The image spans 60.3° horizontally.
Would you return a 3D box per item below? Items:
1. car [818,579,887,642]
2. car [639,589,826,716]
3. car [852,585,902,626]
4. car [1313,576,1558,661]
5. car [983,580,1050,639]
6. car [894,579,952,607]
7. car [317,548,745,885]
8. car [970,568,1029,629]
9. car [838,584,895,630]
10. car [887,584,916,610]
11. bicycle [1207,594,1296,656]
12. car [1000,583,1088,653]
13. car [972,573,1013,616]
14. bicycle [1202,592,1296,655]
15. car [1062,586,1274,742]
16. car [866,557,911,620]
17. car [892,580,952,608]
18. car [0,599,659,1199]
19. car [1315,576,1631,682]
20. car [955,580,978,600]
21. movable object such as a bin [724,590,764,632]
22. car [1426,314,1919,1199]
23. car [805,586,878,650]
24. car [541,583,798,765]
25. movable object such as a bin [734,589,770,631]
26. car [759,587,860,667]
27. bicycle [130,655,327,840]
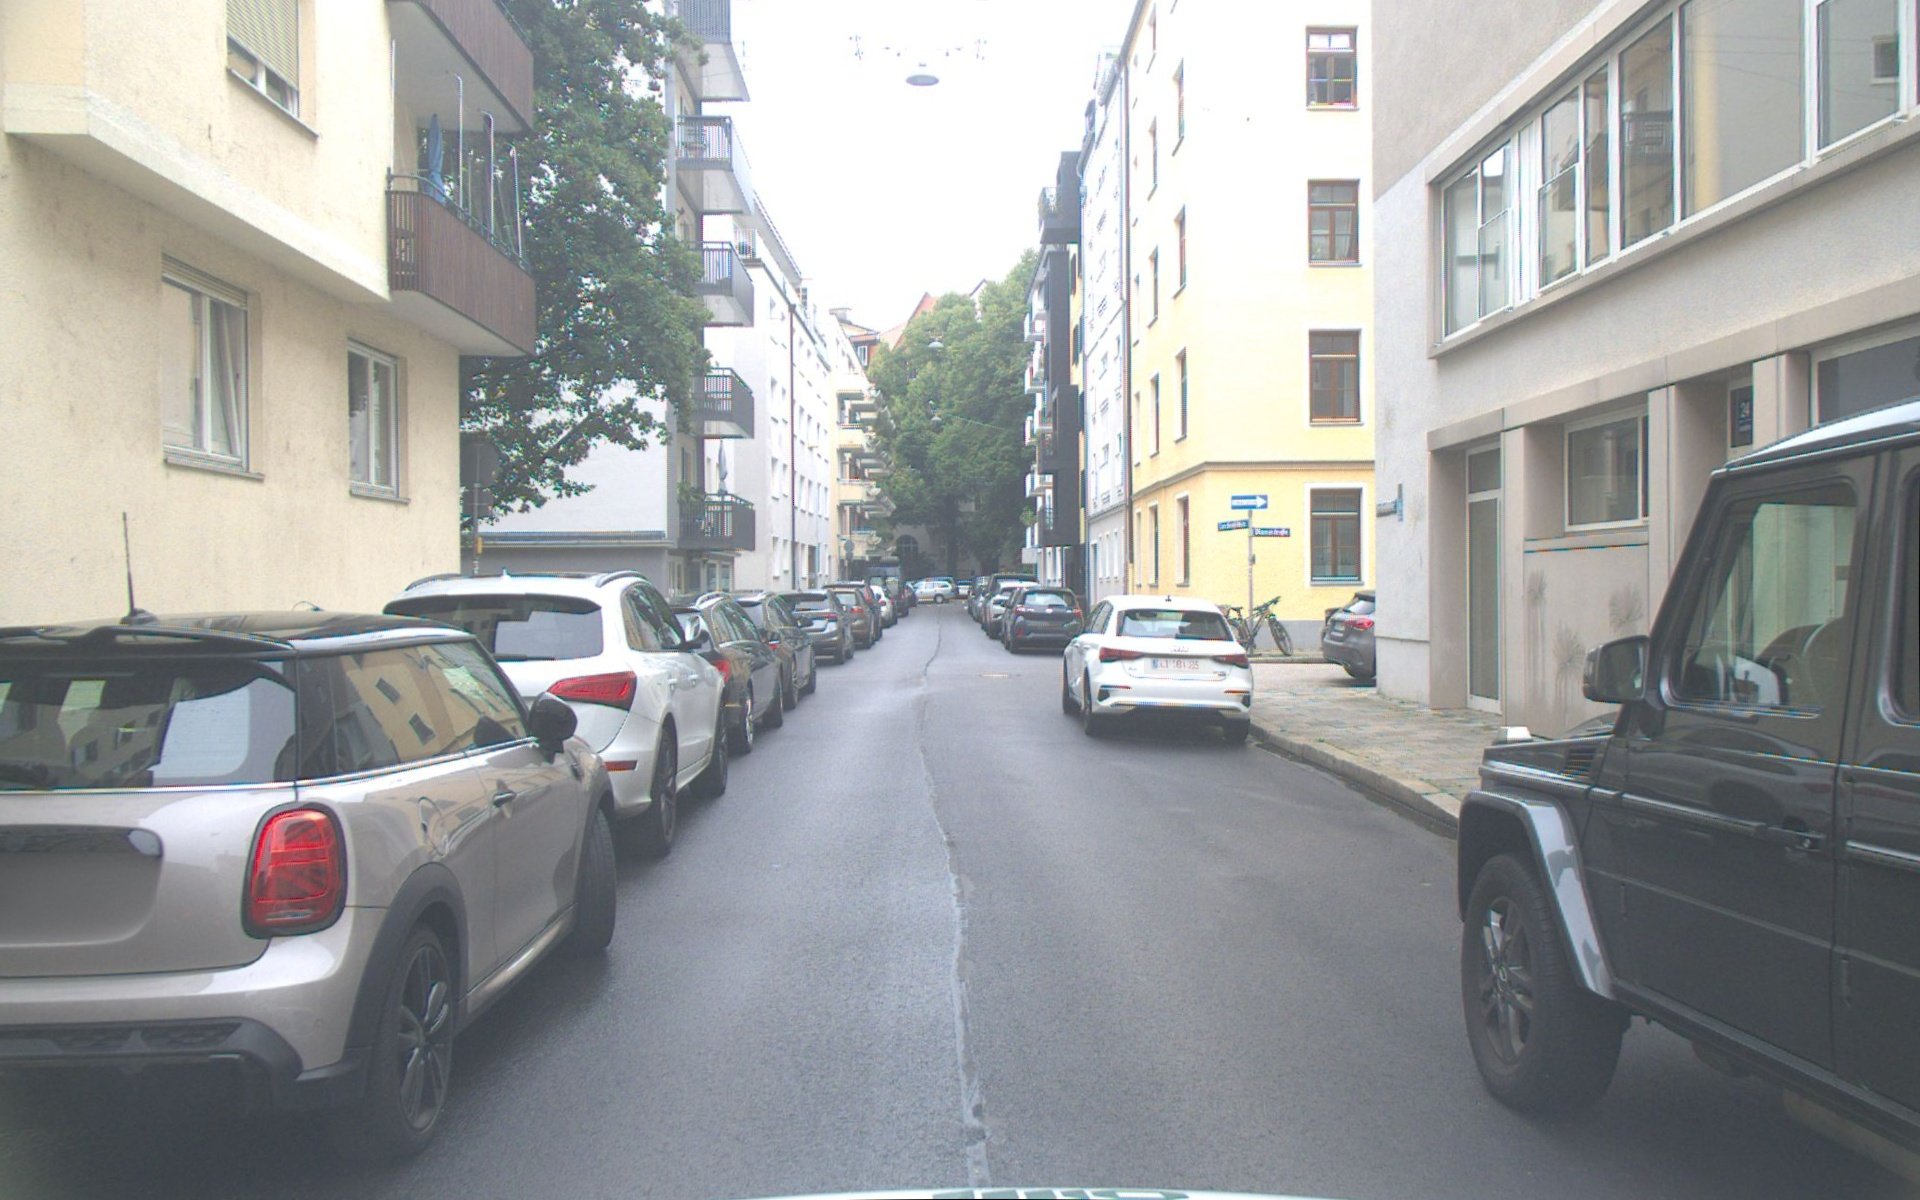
[{"bbox_3d":[-3.008,0.274,47.030,1.741,1.657,4.414,-2,1,-1],"label":"car"},{"bbox_3d":[-2.849,0.601,21.659,1.818,1.433,4.383,-2,1,0],"label":"car"},{"bbox_3d":[-3.244,0.189,65.270,1.741,1.478,4.045,-3,1,-1],"label":"car"},{"bbox_3d":[8.959,0.345,31.347,4.128,1.520,1.711,0,0,-3],"label":"car"},{"bbox_3d":[1.608,0.245,48.626,1.648,1.595,4.414,2,1,-2],"label":"car"},{"bbox_3d":[-2.482,-0.482,110.430,3.808,1.612,1.647,-3,0,-2],"label":"car"},{"bbox_3d":[-2.505,0.597,10.772,1.730,1.704,4.366,-1,0,-2],"label":"car"},{"bbox_3d":[1.306,-0.074,56.057,1.792,1.943,4.415,1,1,-1],"label":"car"},{"bbox_3d":[-3.352,0.213,60.120,1.740,1.512,4.519,-3,1,0],"label":"car"},{"bbox_3d":[-3.489,-0.203,98.547,1.609,1.407,3.482,-3,1,-1],"label":"car"},{"bbox_3d":[5.800,0.489,32.876,1.678,1.159,0.374,-2,2,-2],"label":"bicycle"},{"bbox_3d":[1.912,0.378,38.753,1.715,1.495,4.342,2,1,-1],"label":"car"},{"bbox_3d":[1.620,-0.292,82.948,1.792,2.034,4.414,2,0,-1],"label":"car"},{"bbox_3d":[5.830,0.470,33.398,1.772,1.194,0.505,-2,2,-3],"label":"bicycle"},{"bbox_3d":[2.193,0.624,18.454,1.782,1.432,3.952,1,2,-1],"label":"car"},{"bbox_3d":[-3.413,-0.570,79.881,1.897,2.850,4.531,-3,1,-1],"label":"car"},{"bbox_3d":[-2.484,-0.409,108.467,3.808,1.612,1.647,-3,0,-2],"label":"car"},{"bbox_3d":[-2.186,0.747,5.679,1.618,1.461,3.802,-1,0,-1],"label":"car"},{"bbox_3d":[7.663,0.407,24.965,4.121,1.424,1.999,-1,2,-4],"label":"car"},{"bbox_3d":[0.454,-0.791,125.592,1.609,1.407,3.745,-3,1,-1],"label":"car"},{"bbox_3d":[-7.342,0.362,56.250,1.142,1.360,1.025,-3,0,2],"label":"movable object such as a bin"},{"bbox_3d":[2.602,0.491,3.566,1.716,2.010,4.340,2,1,-3],"label":"car"},{"bbox_3d":[-2.909,0.403,41.206,1.659,1.467,3.976,-2,1,-2],"label":"car"},{"bbox_3d":[-2.723,0.616,16.482,1.729,1.509,4.424,-1,1,0],"label":"car"},{"bbox_3d":[-7.207,0.342,57.329,1.026,1.360,0.993,-3,0,2],"label":"movable object such as a bin"},{"bbox_3d":[-2.975,0.491,33.409,1.658,1.467,3.942,-2,1,0],"label":"car"},{"bbox_3d":[-5.378,1.047,12.281,0.632,1.182,1.789,-2,0,0],"label":"bicycle"}]
